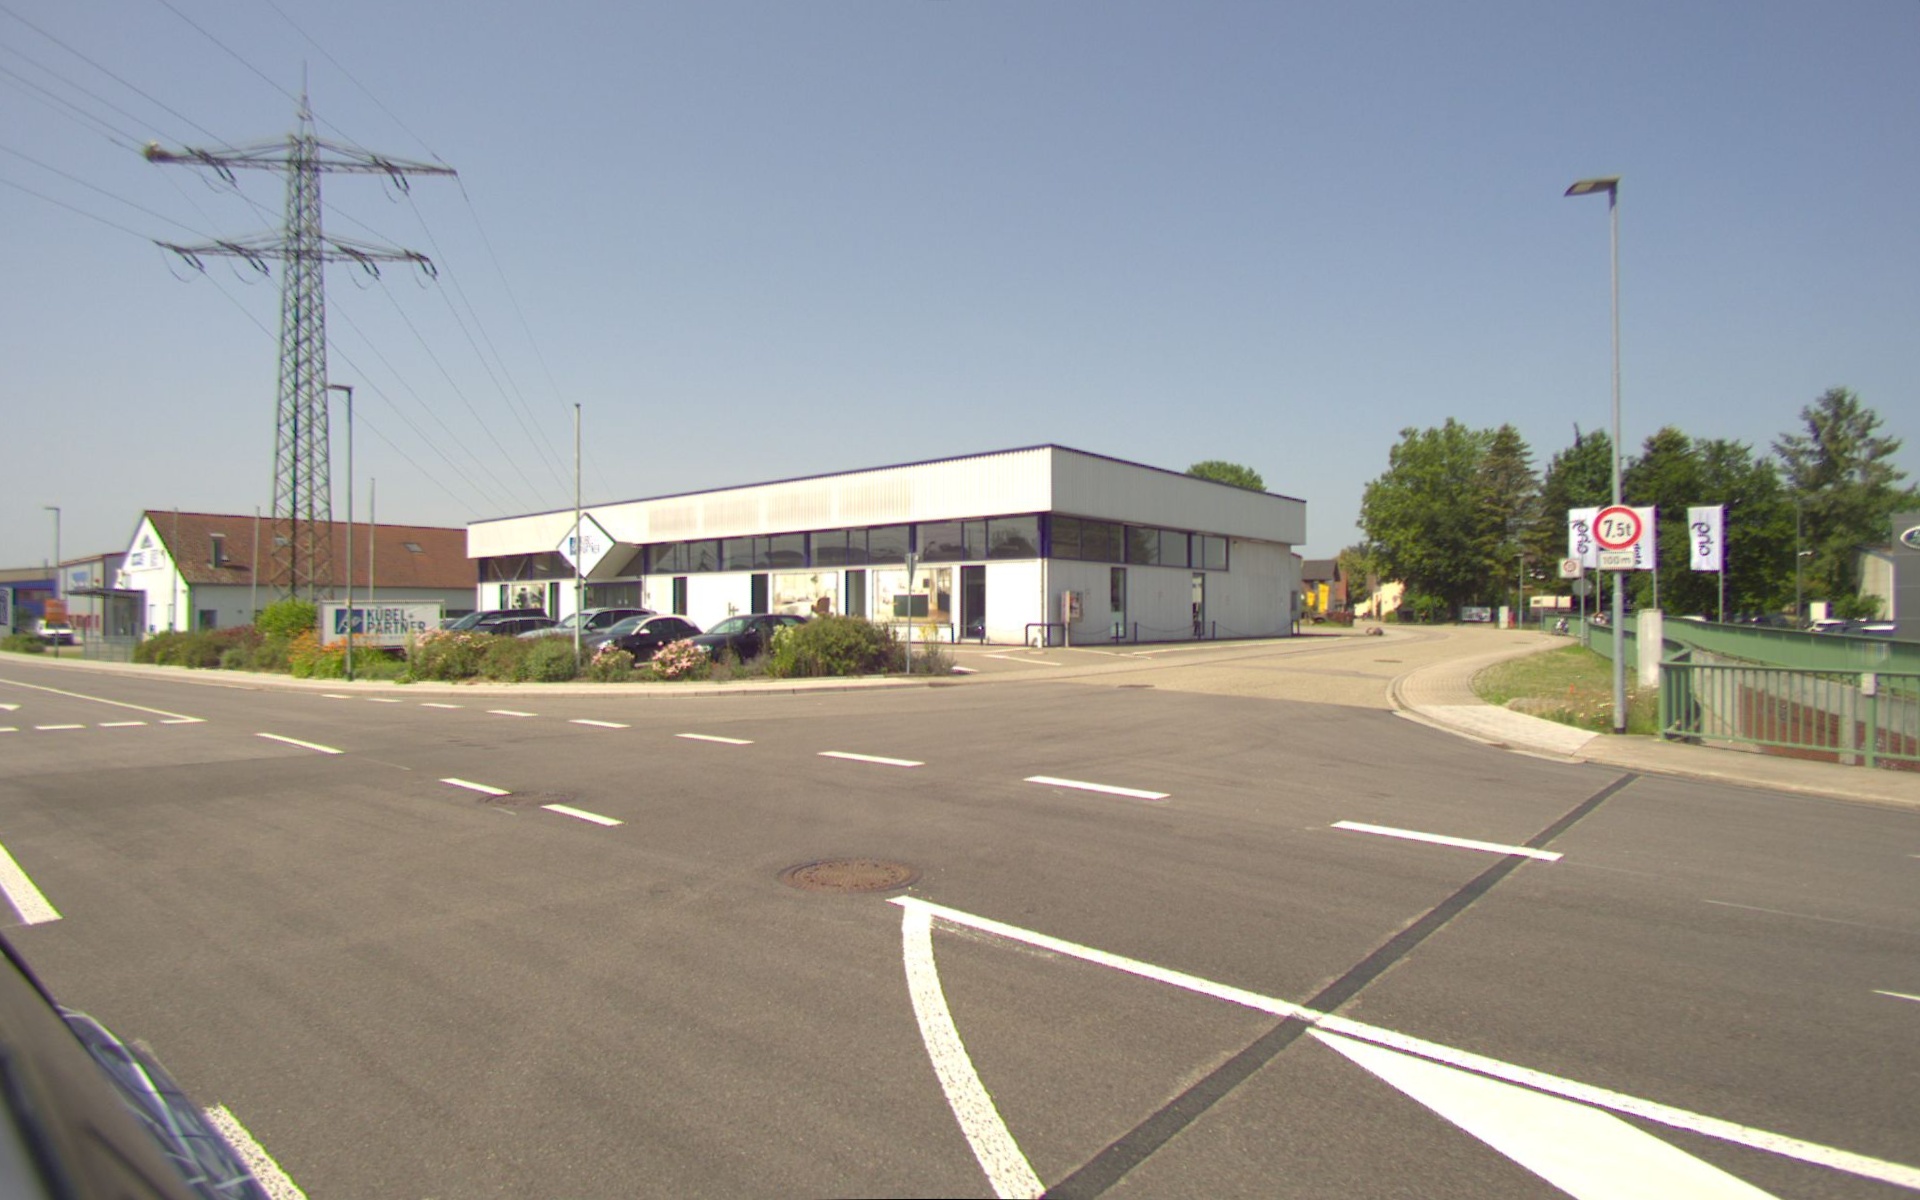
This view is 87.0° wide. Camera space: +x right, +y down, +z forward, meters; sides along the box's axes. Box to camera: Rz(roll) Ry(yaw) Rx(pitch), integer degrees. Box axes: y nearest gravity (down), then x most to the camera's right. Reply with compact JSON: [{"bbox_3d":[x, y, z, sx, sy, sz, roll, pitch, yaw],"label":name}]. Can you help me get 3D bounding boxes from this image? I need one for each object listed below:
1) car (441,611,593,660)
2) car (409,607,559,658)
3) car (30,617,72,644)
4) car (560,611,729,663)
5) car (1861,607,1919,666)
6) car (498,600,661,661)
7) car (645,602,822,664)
[{"bbox_3d":[-13.823,1.095,31.768,1.994,1.425,3.954,-1,-2,33],"label":"car"},{"bbox_3d":[-15.898,1.074,33.958,1.831,1.608,4.184,-1,-2,37],"label":"car"},{"bbox_3d":[-71.307,2.383,79.358,4.679,2.029,1.972,0,-1,42],"label":"car"},{"bbox_3d":[-8.645,1.006,28.028,1.831,1.324,4.184,-1,-2,37],"label":"car"},{"bbox_3d":[29.557,1.066,29.841,1.938,1.747,4.322,1,-2,-43],"label":"car"},{"bbox_3d":[-11.152,0.893,29.913,1.831,1.660,4.184,-1,-2,37],"label":"car"},{"bbox_3d":[-5.585,0.815,25.401,1.831,1.405,4.184,-1,-2,37],"label":"car"}]
